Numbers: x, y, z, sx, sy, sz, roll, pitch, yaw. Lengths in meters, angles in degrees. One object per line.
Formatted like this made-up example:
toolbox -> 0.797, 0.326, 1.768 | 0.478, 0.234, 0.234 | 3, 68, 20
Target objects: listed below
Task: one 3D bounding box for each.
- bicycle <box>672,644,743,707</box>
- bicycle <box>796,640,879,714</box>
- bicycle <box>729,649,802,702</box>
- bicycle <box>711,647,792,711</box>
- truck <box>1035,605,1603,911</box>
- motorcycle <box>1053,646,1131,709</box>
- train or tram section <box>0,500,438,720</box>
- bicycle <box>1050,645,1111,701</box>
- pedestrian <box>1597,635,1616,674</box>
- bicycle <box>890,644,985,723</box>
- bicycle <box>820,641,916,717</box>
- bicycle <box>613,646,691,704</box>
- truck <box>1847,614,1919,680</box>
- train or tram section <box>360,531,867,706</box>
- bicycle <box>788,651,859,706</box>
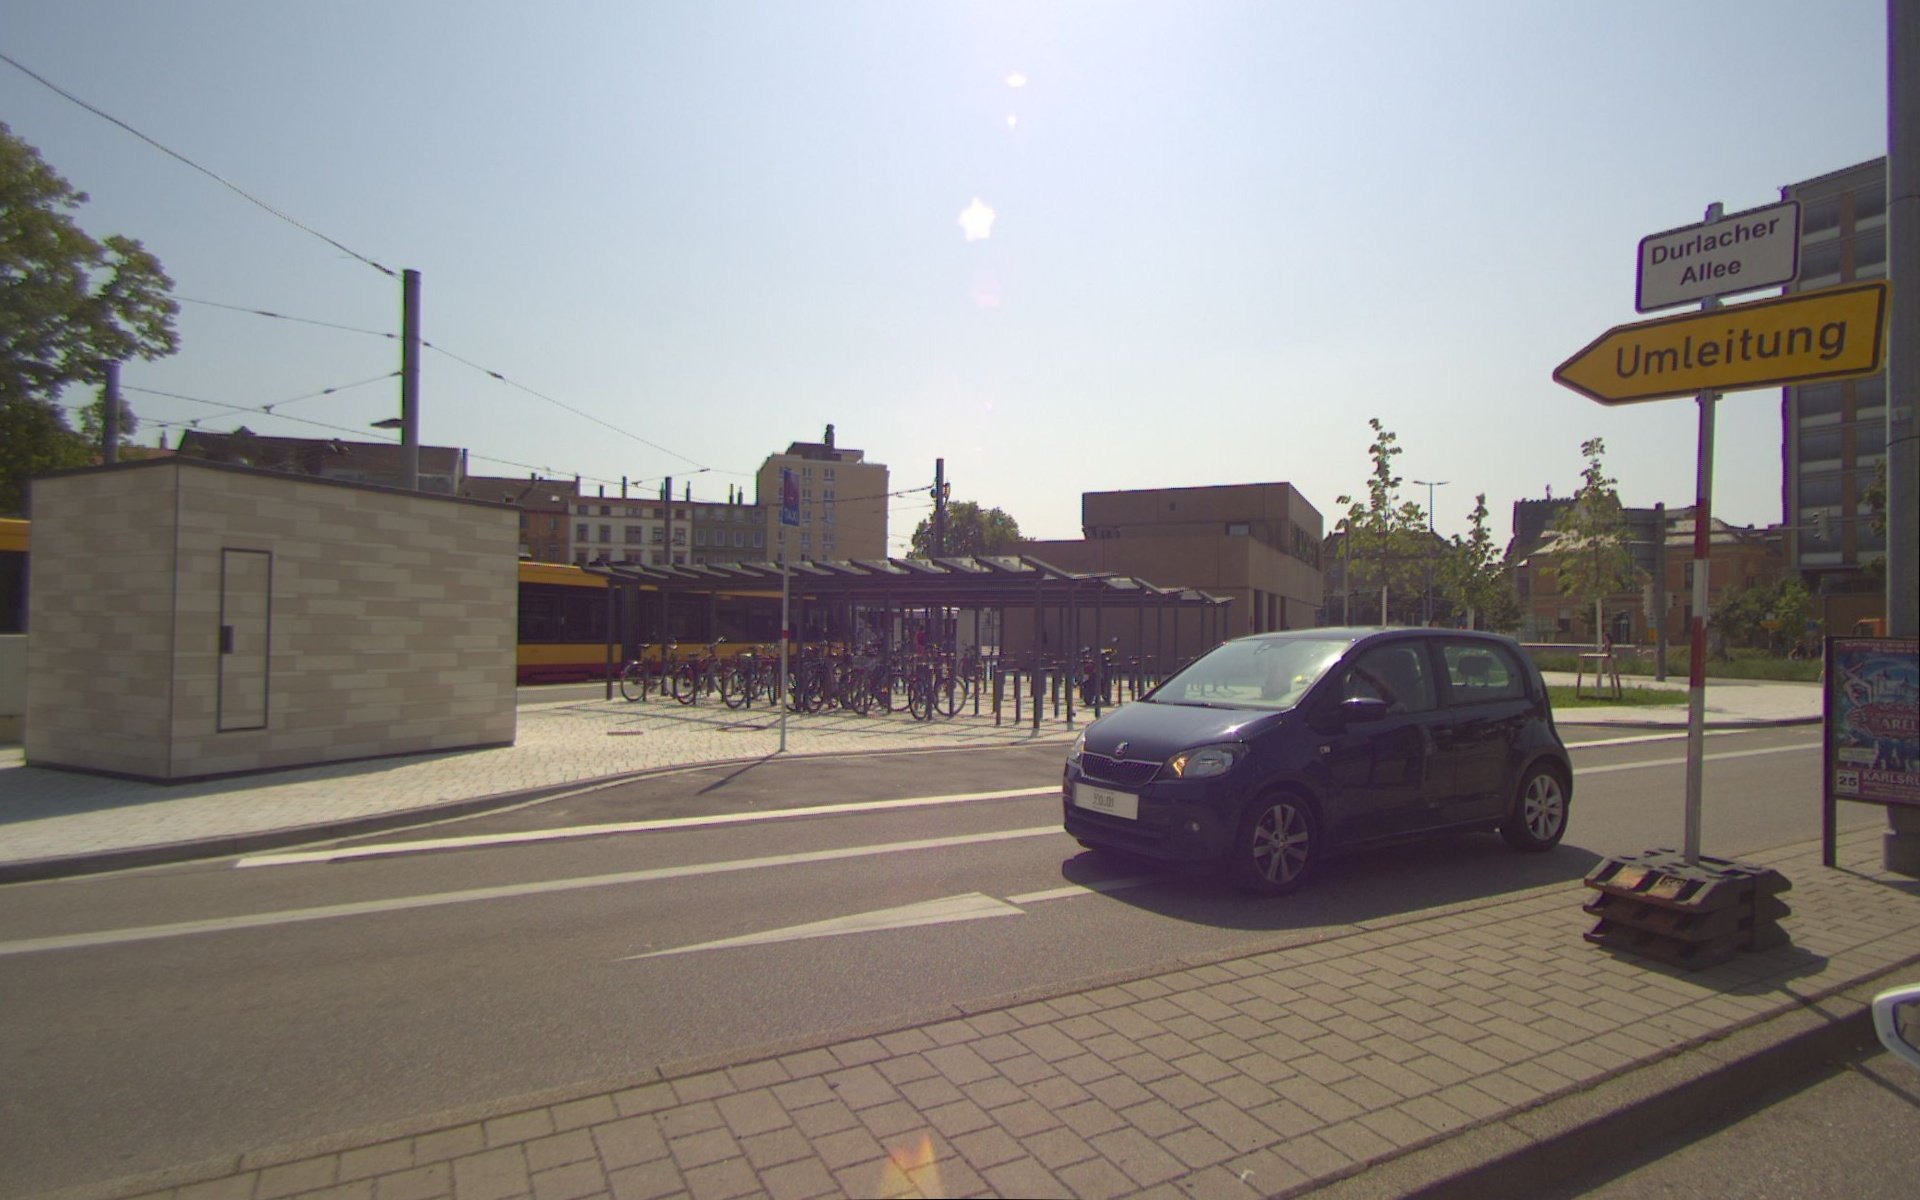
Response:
bicycle -> -4.772, 1.413, 19.081 | 0.457, 1.115, 1.421 | 0, -2, 28
bicycle -> -2.146, 1.335, 17.788 | 0.532, 1.226, 1.608 | 0, -2, 34
bicycle -> -3.972, 1.526, 20.661 | 0.457, 1.016, 1.758 | 0, -2, 28
bicycle -> -3.774, 1.406, 18.288 | 0.457, 1.077, 1.692 | 0, -2, 28
truck -> 2.400, 0.844, 6.580 | 3.576, 1.524, 1.548 | 1, -2, -29
motorcycle -> 2.786, 1.582, 21.034 | 0.596, 1.226, 2.245 | -1, -2, 37
train or tram section -> -17.369, 0.124, 16.191 | 2.812, 3.595, 17.728 | 1, -2, 25
bicycle -> 2.817, 1.661, 23.326 | 0.596, 1.226, 1.804 | -1, -2, 37
pedestrian -> 26.299, 2.225, 40.850 | 0.520, 1.573, 0.417 | 0, -2, 16
bicycle -> -0.355, 1.360, 16.768 | 0.596, 1.226, 1.804 | -1, -2, 37
bicycle -> -1.571, 1.337, 17.422 | 0.596, 1.226, 1.804 | -1, -2, 37
bicycle -> -5.932, 1.432, 19.406 | 0.457, 1.046, 1.546 | 0, -2, 28
truck -> 45.833, 2.224, 47.428 | 2.652, 3.029, 5.967 | 1, -1, 0
train or tram section -> -9.307, 0.748, 32.786 | 2.842, 4.121, 19.123 | 0, -2, 26
bicycle -> -2.711, 1.536, 20.069 | 0.457, 1.016, 1.758 | 0, -2, 28
